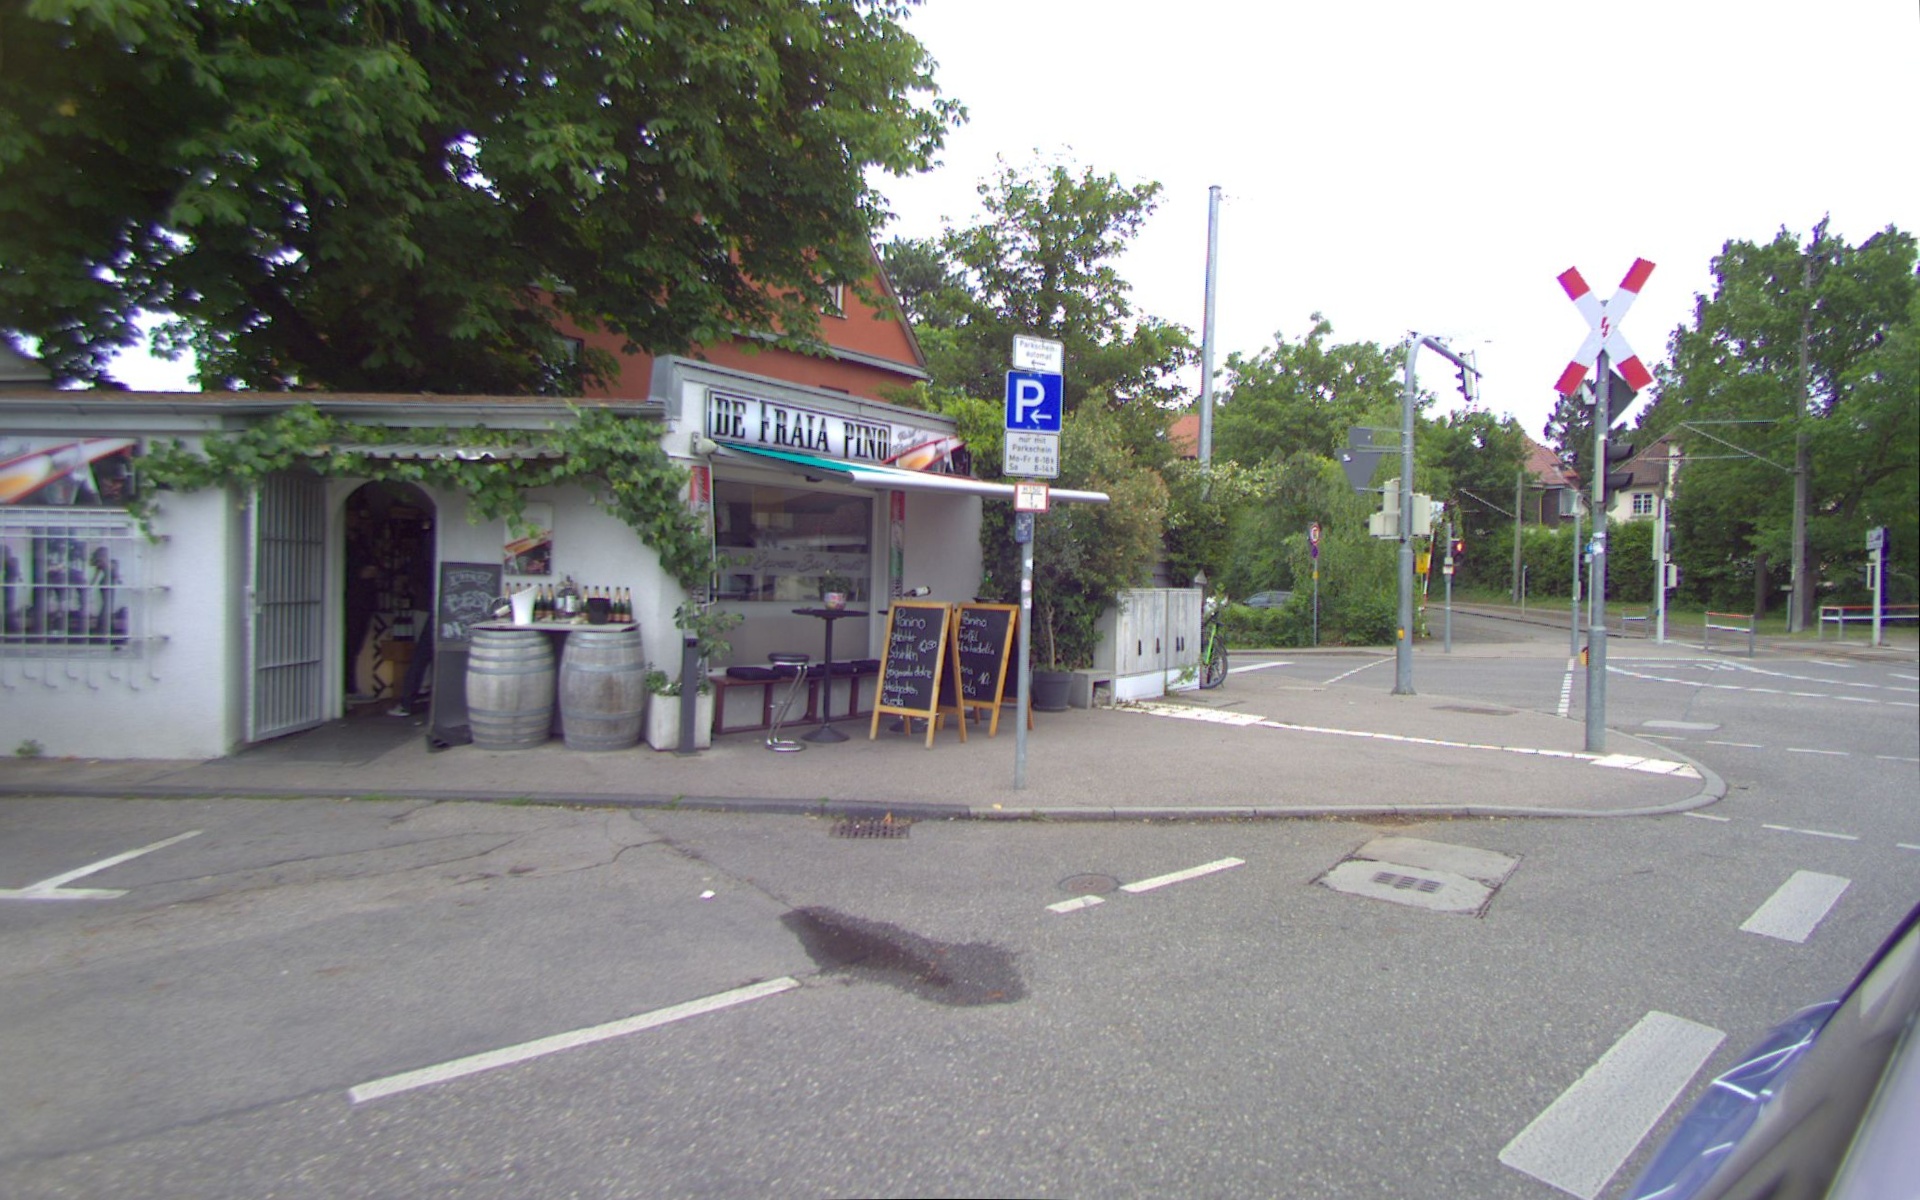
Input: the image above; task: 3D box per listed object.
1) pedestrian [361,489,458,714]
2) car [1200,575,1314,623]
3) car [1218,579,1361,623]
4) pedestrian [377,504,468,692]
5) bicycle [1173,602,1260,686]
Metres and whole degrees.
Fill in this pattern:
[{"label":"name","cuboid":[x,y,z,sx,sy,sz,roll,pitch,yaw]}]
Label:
[{"label":"pedestrian","cuboid":[-4.818,0.016,8.896,0.611,1.881,0.688,3,0,-24]},{"label":"car","cuboid":[12.885,-0.075,43.874,4.428,1.891,1.981,2,1,28]},{"label":"car","cuboid":[11.712,0.002,36.172,1.967,1.481,4.507,-1,1,-44]},{"label":"pedestrian","cuboid":[-5.348,-0.020,10.067,0.664,1.781,0.687,3,0,-34]},{"label":"bicycle","cuboid":[3.827,0.655,15.000,0.547,1.154,1.852,1,-3,37]}]
